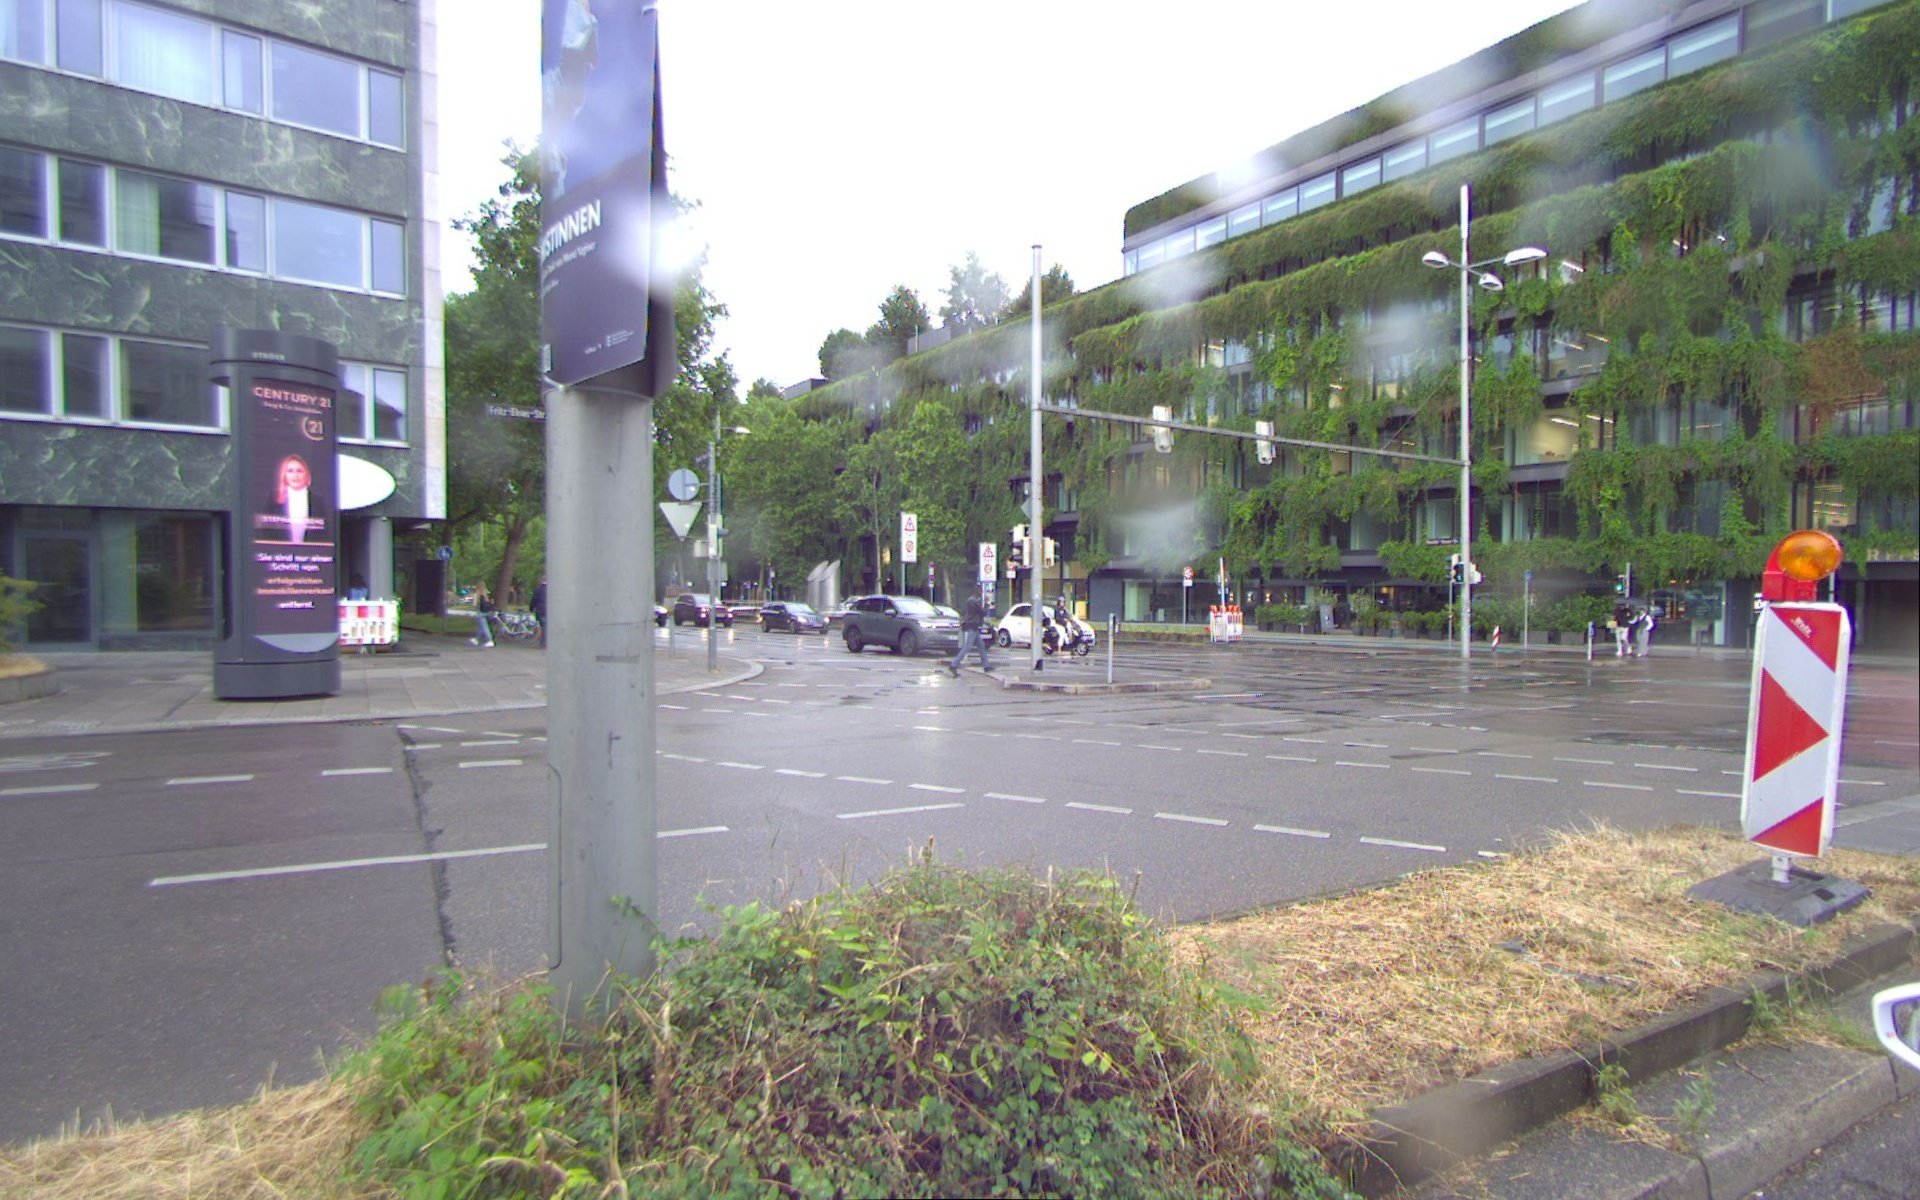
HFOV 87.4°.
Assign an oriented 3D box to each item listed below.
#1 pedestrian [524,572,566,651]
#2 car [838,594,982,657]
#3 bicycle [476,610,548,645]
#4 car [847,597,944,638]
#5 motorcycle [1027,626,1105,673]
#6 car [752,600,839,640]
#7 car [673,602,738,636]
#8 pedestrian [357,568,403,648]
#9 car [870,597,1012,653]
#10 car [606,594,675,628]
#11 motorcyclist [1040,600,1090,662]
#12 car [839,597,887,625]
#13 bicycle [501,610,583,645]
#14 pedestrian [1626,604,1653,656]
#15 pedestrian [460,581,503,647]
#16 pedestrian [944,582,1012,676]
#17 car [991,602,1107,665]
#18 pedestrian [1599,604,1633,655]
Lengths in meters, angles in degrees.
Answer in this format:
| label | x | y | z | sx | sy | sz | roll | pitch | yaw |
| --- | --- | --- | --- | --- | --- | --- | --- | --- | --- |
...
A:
| label | x | y | z | sx | sy | sz | roll | pitch | yaw |
| --- | --- | --- | --- | --- | --- | --- | --- | --- | --- |
| pedestrian | -10.424 | 0.304 | 25.231 | 0.887 | 1.909 | 0.781 | 1 | -4 | -30 |
| car | -1.506 | 0.683 | 29.065 | 1.985 | 1.674 | 4.186 | 1 | 0 | -42 |
| bicycle | -12.381 | 0.758 | 27.778 | 1.773 | 0.946 | 0.473 | 1 | 0 | -21 |
| car | -2.583 | 0.671 | 39.688 | 1.858 | 1.543 | 3.855 | 1 | 0 | -42 |
| motorcycle | 3.041 | 1.407 | 29.053 | 2.204 | 1.227 | 0.843 | 1 | 0 | 44 |
| car | -7.529 | 0.890 | 45.737 | 1.986 | 1.674 | 4.050 | 3 | -1 | -42 |
| car | -13.791 | 1.014 | 54.265 | 1.805 | 1.674 | 4.053 | 3 | -1 | -40 |
| pedestrian | -13.944 | 0.195 | 24.153 | 0.868 | 1.879 | 1.015 | 1 | 0 | -34 |
| car | -0.698 | 0.760 | 32.715 | 1.957 | 1.674 | 4.755 | 1 | 0 | -43 |
| car | -16.908 | 0.570 | 53.068 | 1.986 | 1.674 | 4.050 | 3 | -1 | -42 |
| motorcyclist | 3.038 | 0.876 | 29.063 | 1.173 | 1.725 | 0.843 | 1 | 0 | 44 |
| car | -7.503 | 0.825 | 77.306 | 1.979 | 2.040 | 4.073 | 1 | -1 | -34 |
| bicycle | -12.113 | 0.800 | 29.164 | 2.170 | 0.968 | 0.423 | 2 | -1 | -44 |
| pedestrian | 23.896 | 1.036 | 35.335 | 0.731 | 1.781 | 0.972 | 1 | 0 | 37 |
| pedestrian | -12.093 | 0.369 | 25.384 | 0.912 | 1.606 | 0.828 | 1 | -4 | -30 |
| pedestrian | 0.378 | 0.596 | 21.067 | 1.225 | 1.910 | 0.685 | 1 | 2 | -34 |
| car | 2.914 | 1.059 | 33.257 | 1.985 | 1.948 | 3.417 | 1 | 0 | -42 |
| pedestrian | 23.339 | 1.028 | 35.745 | 0.923 | 1.781 | 1.167 | 1 | 0 | 37 |
